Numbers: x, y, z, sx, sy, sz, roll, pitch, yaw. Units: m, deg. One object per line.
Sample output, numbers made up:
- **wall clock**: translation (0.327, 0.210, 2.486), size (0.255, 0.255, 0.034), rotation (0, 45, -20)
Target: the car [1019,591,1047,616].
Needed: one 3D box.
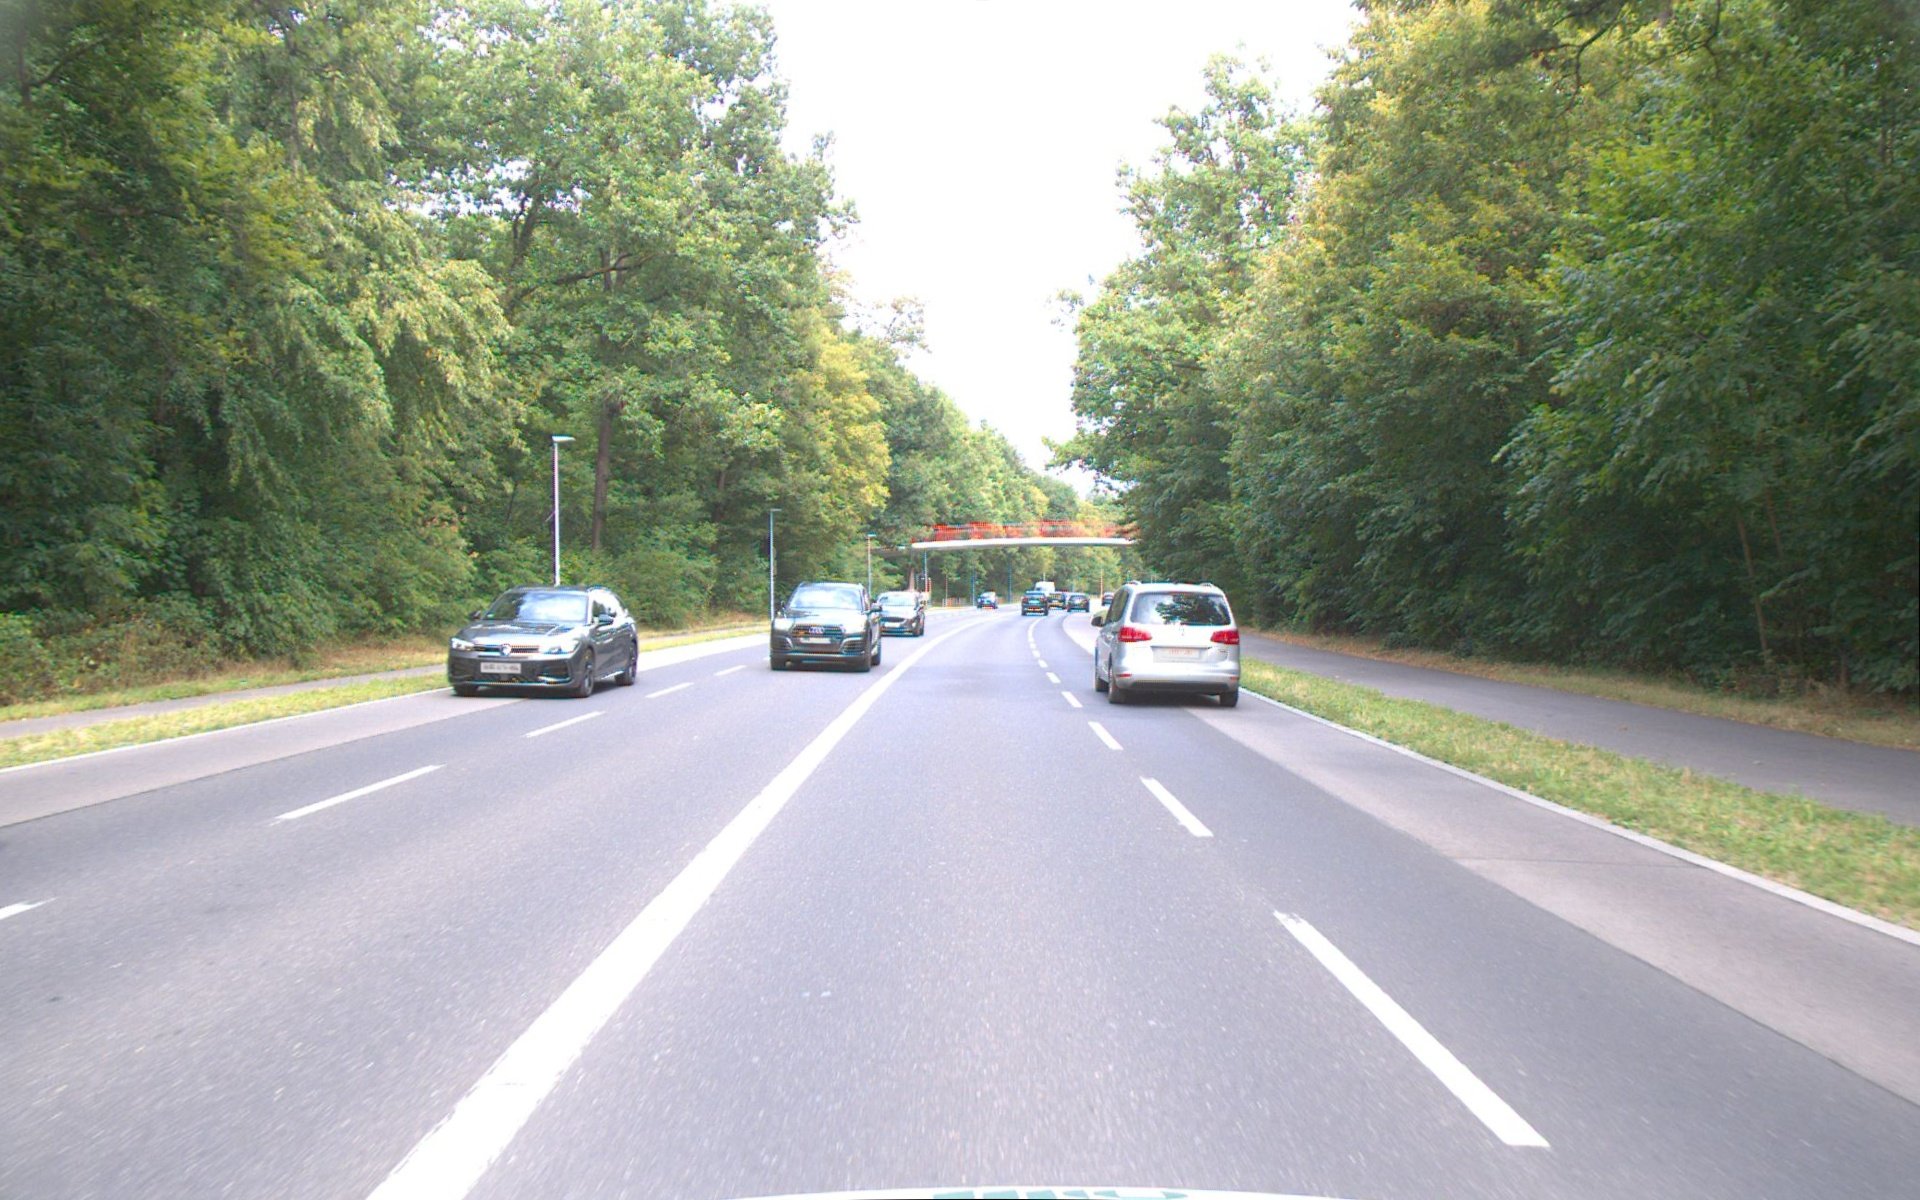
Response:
- **car**: translation (5.050, 0.250, 113.303), size (1.693, 1.615, 4.002), rotation (2, -1, 5)

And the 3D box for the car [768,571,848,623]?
- **car**: translation (-5.009, -0.077, 55.015), size (1.952, 1.579, 4.002), rotation (2, -1, 4)

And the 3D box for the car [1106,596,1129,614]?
- **car**: translation (15.466, 0.538, 162.259), size (1.767, 1.697, 3.999), rotation (2, -1, -1)

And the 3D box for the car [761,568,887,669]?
- **car**: translation (-2.548, 0.350, 31.880), size (1.922, 1.735, 4.001), rotation (-2, 0, 1)

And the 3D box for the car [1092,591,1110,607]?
- **car**: translation (16.616, -0.096, 195.040), size (1.766, 1.697, 4.000), rotation (2, -1, 1)

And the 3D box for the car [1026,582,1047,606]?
- **car**: translation (9.609, -0.716, 207.340), size (2.055, 2.802, 4.350), rotation (2, -1, 9)

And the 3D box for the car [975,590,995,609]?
- **car**: translation (2.232, -0.020, 148.711), size (1.705, 1.624, 3.999), rotation (2, -1, -1)

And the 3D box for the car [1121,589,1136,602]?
- **car**: translation (23.278, -0.661, 228.582), size (1.765, 1.697, 4.002), rotation (2, -1, 4)

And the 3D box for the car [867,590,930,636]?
- **car**: translation (-2.035, 0.434, 55.347), size (1.662, 1.410, 3.828), rotation (-2, 0, 4)

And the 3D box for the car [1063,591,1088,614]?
- **car**: translation (9.582, 0.201, 137.293), size (1.952, 1.780, 4.001), rotation (2, -1, 4)

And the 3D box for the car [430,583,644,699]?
- **car**: translation (-5.772, 0.504, 23.141), size (1.777, 1.445, 4.519), rotation (1, 0, 0)

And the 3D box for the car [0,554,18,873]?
- **car**: translation (-5.705, 0.525, 6.069), size (1.846, 1.585, 4.518), rotation (1, -1, 0)

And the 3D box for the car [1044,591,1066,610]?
- **car**: translation (8.878, 0.058, 154.003), size (1.952, 1.727, 4.002), rotation (2, -1, 4)

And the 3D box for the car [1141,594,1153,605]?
- **car**: translation (29.461, -0.091, 260.890), size (1.765, 1.697, 4.003), rotation (2, -1, 8)

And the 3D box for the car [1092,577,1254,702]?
- **car**: translation (3.049, 0.559, 24.472), size (1.952, 1.635, 4.001), rotation (2, -1, 2)
